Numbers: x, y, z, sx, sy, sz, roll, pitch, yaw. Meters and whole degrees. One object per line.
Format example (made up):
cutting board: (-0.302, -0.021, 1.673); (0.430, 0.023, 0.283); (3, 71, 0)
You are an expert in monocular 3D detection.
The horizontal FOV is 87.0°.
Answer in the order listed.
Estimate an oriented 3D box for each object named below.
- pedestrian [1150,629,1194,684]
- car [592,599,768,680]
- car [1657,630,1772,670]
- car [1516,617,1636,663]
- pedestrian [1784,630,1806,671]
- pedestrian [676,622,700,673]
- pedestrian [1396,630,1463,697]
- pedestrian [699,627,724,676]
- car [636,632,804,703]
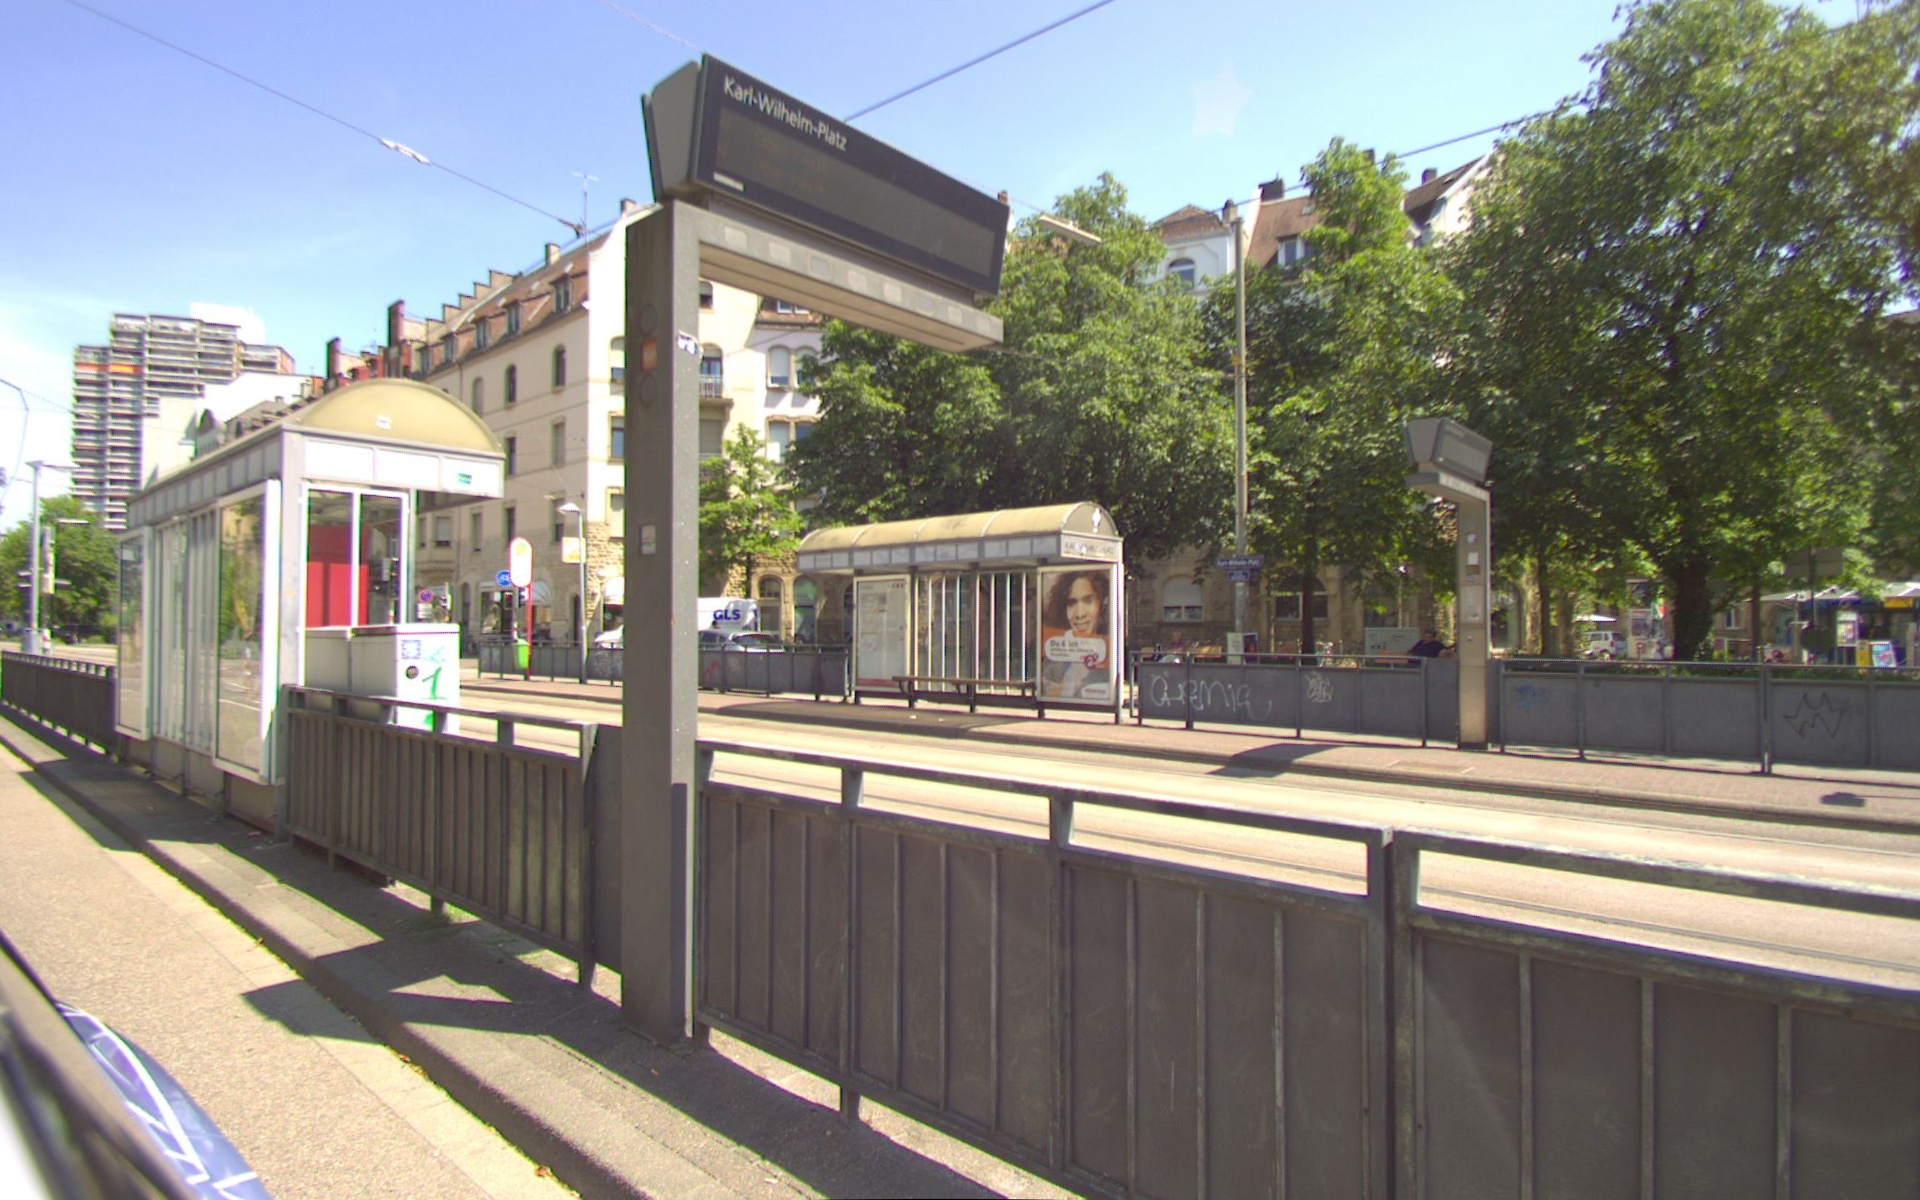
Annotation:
pedestrian: (5.100, 1.350, 24.312); (0.930, 1.253, 0.860); (-1, 0, 17)
car: (-9.895, 1.356, 36.198); (5.739, 2.693, 2.277); (-1, 0, -5)
car: (35.795, 2.338, 48.098); (1.736, 1.721, 3.998); (-1, 0, -33)
car: (26.726, 1.694, 44.006); (1.966, 1.803, 4.011); (-1, 0, -33)
pedestrian: (34.474, 2.088, 41.788); (0.483, 1.683, 0.517); (1, -2, -27)
pedestrian: (-8.866, 1.538, 33.031); (0.473, 1.659, 0.586); (-2, -3, 41)
pedestrian: (9.289, 1.233, 20.037); (0.852, 1.253, 0.939); (-1, 0, -43)
pedestrian: (-7.976, 1.652, 32.492); (0.473, 1.563, 0.586); (-2, -3, 39)
car: (-5.592, 1.483, 23.359); (3.998, 1.404, 1.789); (-1, 0, 41)
